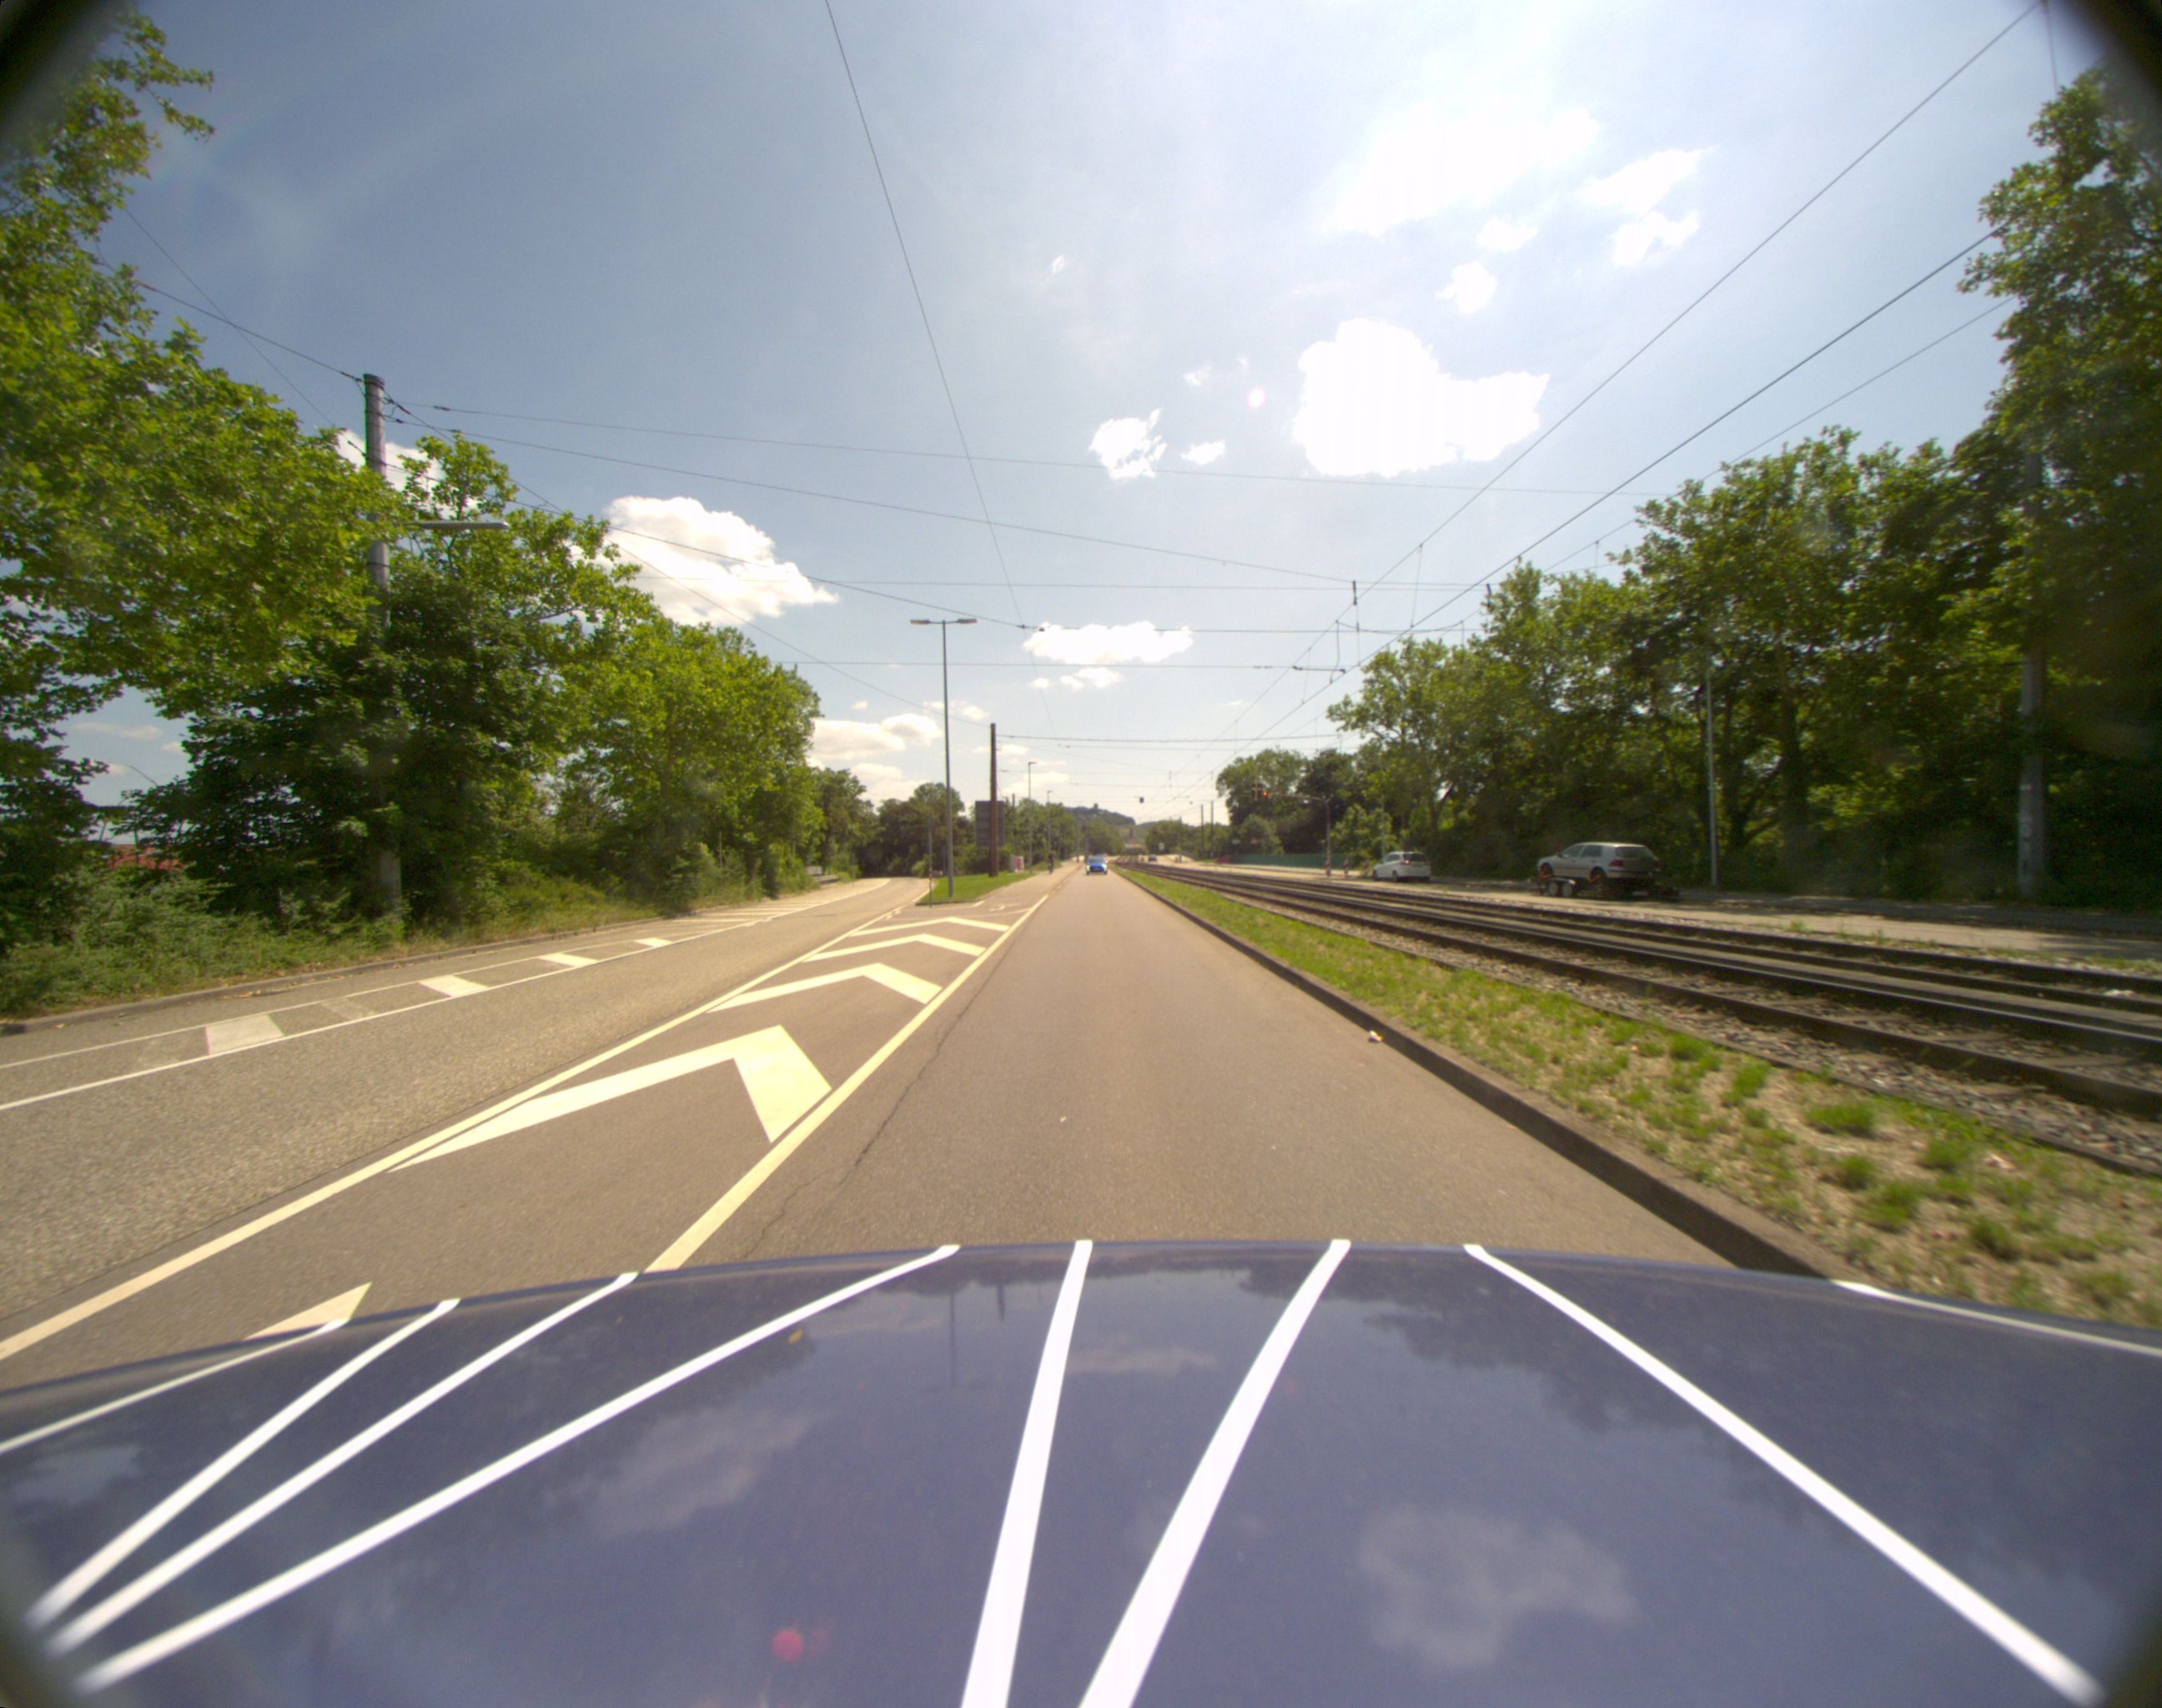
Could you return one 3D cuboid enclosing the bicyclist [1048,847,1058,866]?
[{"bbox_3d":[-2.183,0.214,59.407,0.586,1.486,0.558,-2,-1,6],"label":"bicyclist"}]

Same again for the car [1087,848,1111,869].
[{"bbox_3d":[1.454,0.403,62.822,1.865,1.630,4.001,-2,-1,0],"label":"car"}]

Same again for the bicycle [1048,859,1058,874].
[{"bbox_3d":[-2.182,0.978,59.176,0.433,1.145,1.856,-2,-1,6],"label":"bicycle"}]

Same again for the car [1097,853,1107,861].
[{"bbox_3d":[4.547,0.720,165.403,1.730,1.695,4.000,-2,-1,-3],"label":"car"}]

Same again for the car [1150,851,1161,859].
[{"bbox_3d":[16.243,0.283,166.114,1.880,1.710,5.330,-1,0,0],"label":"car"}]

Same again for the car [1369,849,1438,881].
[{"bbox_3d":[17.496,0.613,41.483,1.724,1.621,4.617,-2,-1,0],"label":"car"}]

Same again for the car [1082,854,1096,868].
[{"bbox_3d":[1.073,0.998,103.469,1.683,1.737,3.686,-2,-1,2],"label":"car"}]

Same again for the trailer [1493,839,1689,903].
[{"bbox_3d":[17.255,0.510,26.257,2.468,1.878,5.960,-2,0,-3],"label":"trailer"}]
